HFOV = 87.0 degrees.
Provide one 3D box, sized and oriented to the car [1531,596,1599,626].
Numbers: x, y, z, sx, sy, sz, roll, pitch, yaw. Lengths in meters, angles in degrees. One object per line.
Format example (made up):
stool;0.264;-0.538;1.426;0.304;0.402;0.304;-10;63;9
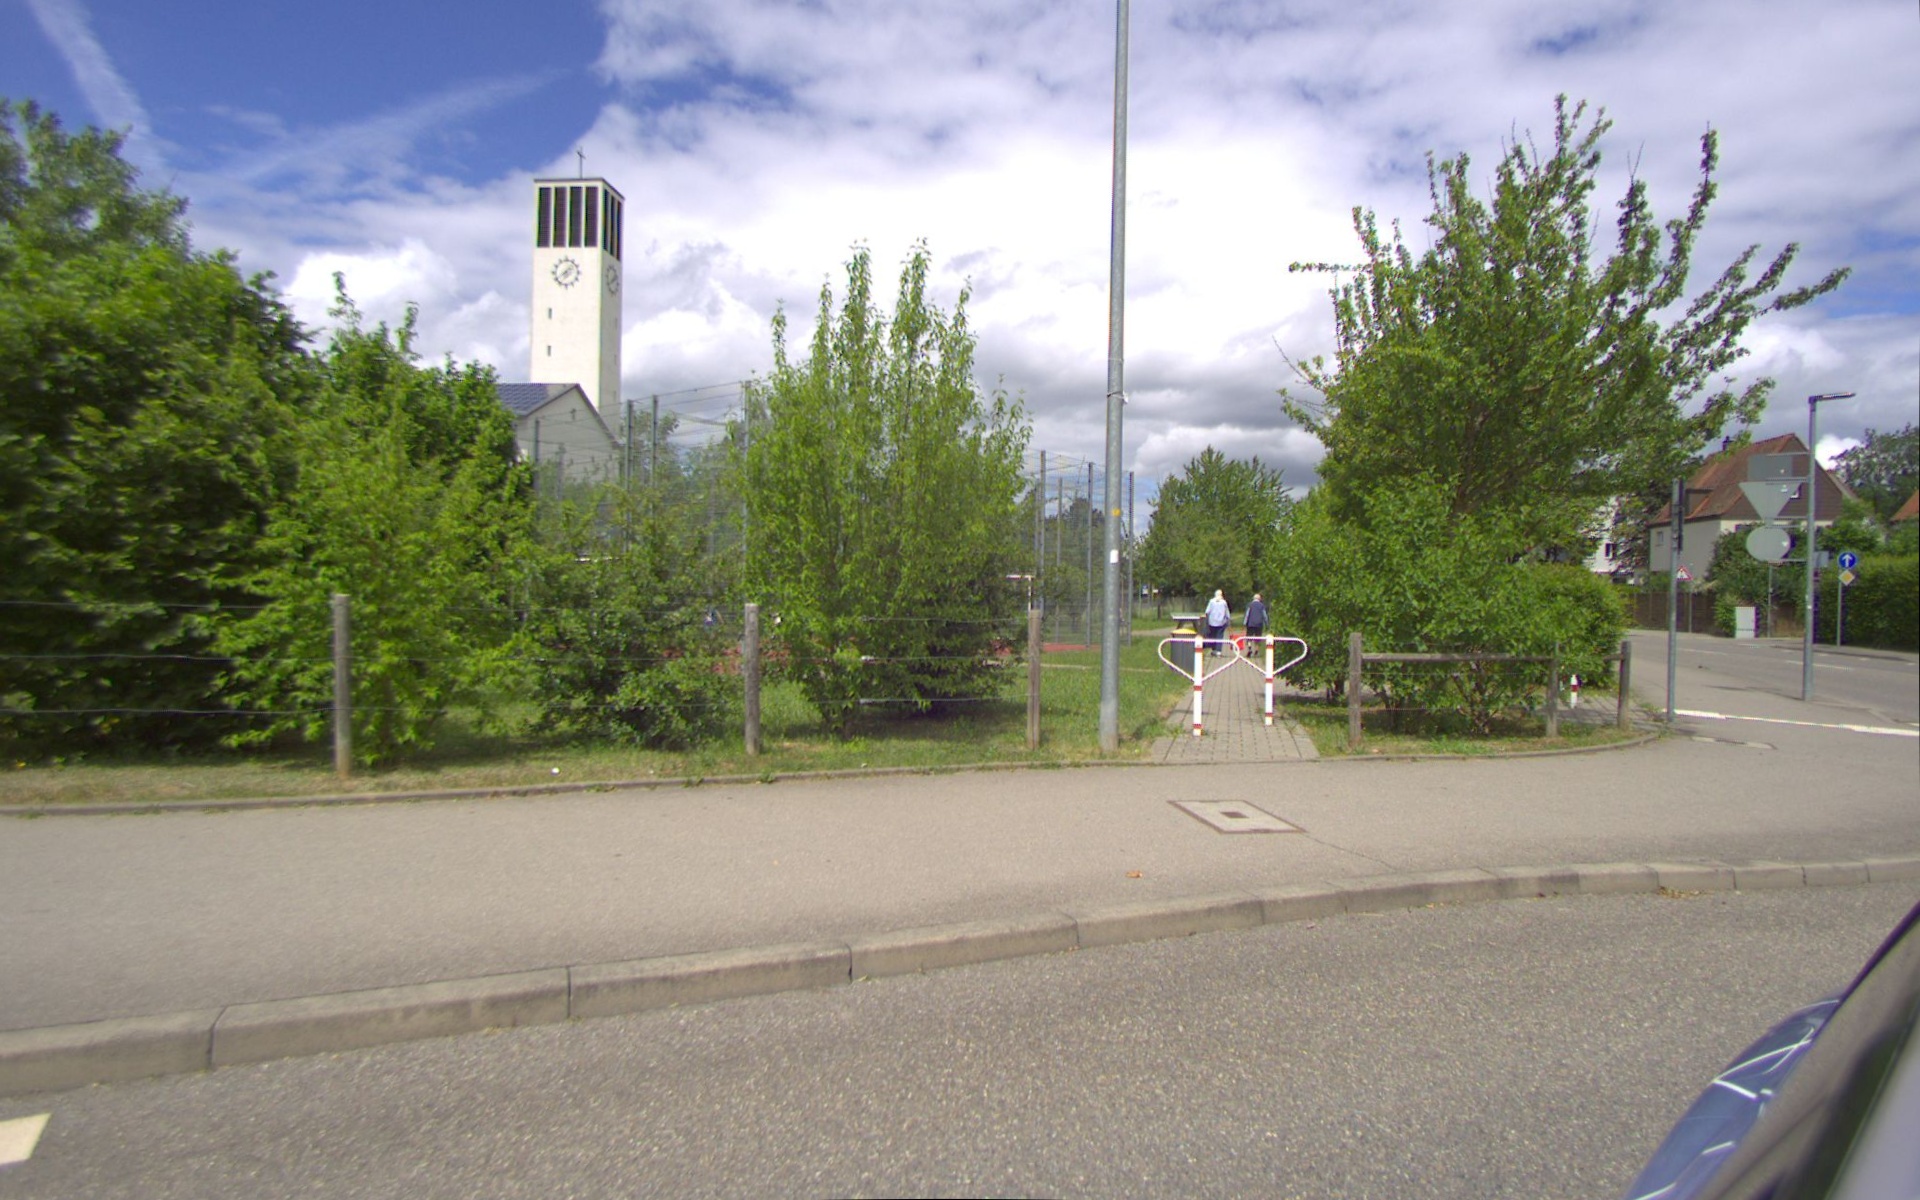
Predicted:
car;33.544;0.560;56.277;1.971;1.498;4.625;2;1;15

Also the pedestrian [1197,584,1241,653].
pedestrian;6.661;0.465;26.033;0.878;1.715;0.931;-1;0;0

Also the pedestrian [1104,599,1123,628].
pedestrian;6.703;0.579;44.210;0.561;1.249;0.790;2;1;29

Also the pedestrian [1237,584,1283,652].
pedestrian;7.715;0.455;26.055;0.878;1.715;0.931;-1;0;0
